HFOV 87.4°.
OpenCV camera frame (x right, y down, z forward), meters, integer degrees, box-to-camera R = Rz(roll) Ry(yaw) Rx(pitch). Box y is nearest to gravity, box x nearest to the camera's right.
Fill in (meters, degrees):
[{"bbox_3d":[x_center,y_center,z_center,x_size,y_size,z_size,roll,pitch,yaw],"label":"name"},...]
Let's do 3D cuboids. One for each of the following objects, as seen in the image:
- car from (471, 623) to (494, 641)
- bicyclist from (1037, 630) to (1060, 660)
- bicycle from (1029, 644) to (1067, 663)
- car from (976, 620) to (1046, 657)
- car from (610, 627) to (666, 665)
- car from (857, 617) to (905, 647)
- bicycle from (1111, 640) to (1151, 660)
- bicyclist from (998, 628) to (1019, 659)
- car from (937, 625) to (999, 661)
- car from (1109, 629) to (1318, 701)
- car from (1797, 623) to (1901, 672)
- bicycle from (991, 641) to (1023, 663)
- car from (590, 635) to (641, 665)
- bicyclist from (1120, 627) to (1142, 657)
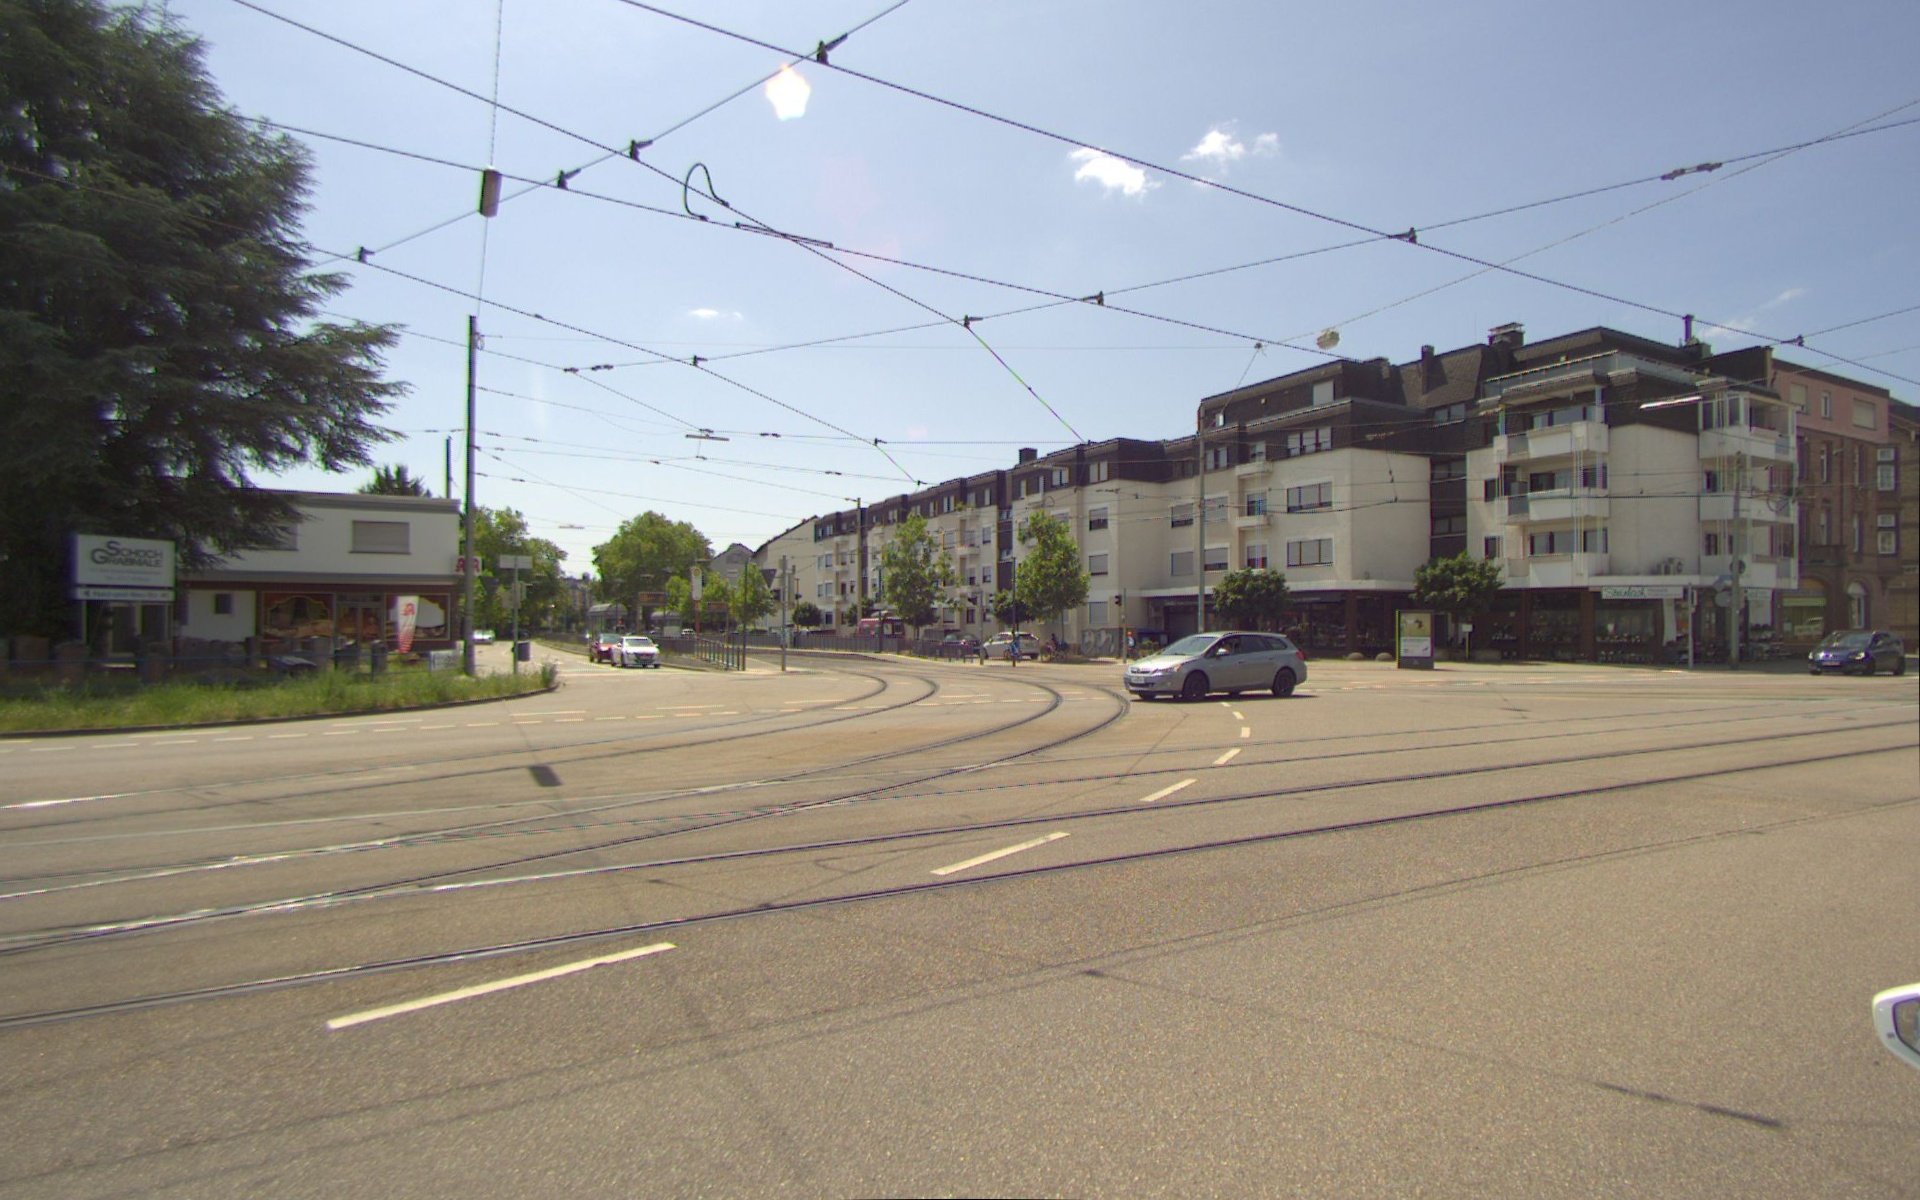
[{"bbox_3d":[-51.088,3.463,107.383,1.976,1.730,3.972,2,-4,-28],"label":"car"},{"bbox_3d":[4.268,2.176,48.479,0.625,1.441,0.954,2,-4,-38],"label":"bicyclist"},{"bbox_3d":[4.232,2.609,48.499,0.415,0.892,2.232,3,-4,-40],"label":"bicycle"},{"bbox_3d":[2.725,2.068,54.553,1.977,1.937,3.968,1,-2,-30],"label":"car"},{"bbox_3d":[-15.257,2.207,47.474,1.876,1.747,3.828,2,-4,-27],"label":"car"},{"bbox_3d":[-5.520,2.207,69.621,1.974,2.040,3.973,1,-2,-27],"label":"car"},{"bbox_3d":[8.493,2.498,50.056,0.664,0.947,2.238,2,-4,-32],"label":"bicycle"},{"bbox_3d":[2.478,2.213,50.989,0.728,1.506,0.847,2,-4,-31],"label":"bicyclist"},{"bbox_3d":[0.458,2.619,60.366,1.977,2.039,3.969,2,-4,-30],"label":"car"},{"bbox_3d":[5.738,1.398,22.698,4.343,1.491,1.987,1,-2,-26],"label":"car"},{"bbox_3d":[32.711,1.722,36.936,4.231,1.705,1.715,1,-2,-32],"label":"car"},{"bbox_3d":[2.381,2.649,51.152,0.511,1.115,2.239,2,-4,-31],"label":"bicycle"},{"bbox_3d":[-18.535,2.727,53.958,1.975,1.520,3.973,2,-4,-27],"label":"car"},{"bbox_3d":[8.513,2.092,50.036,0.649,1.487,0.842,2,-4,-31],"label":"bicyclist"}]
